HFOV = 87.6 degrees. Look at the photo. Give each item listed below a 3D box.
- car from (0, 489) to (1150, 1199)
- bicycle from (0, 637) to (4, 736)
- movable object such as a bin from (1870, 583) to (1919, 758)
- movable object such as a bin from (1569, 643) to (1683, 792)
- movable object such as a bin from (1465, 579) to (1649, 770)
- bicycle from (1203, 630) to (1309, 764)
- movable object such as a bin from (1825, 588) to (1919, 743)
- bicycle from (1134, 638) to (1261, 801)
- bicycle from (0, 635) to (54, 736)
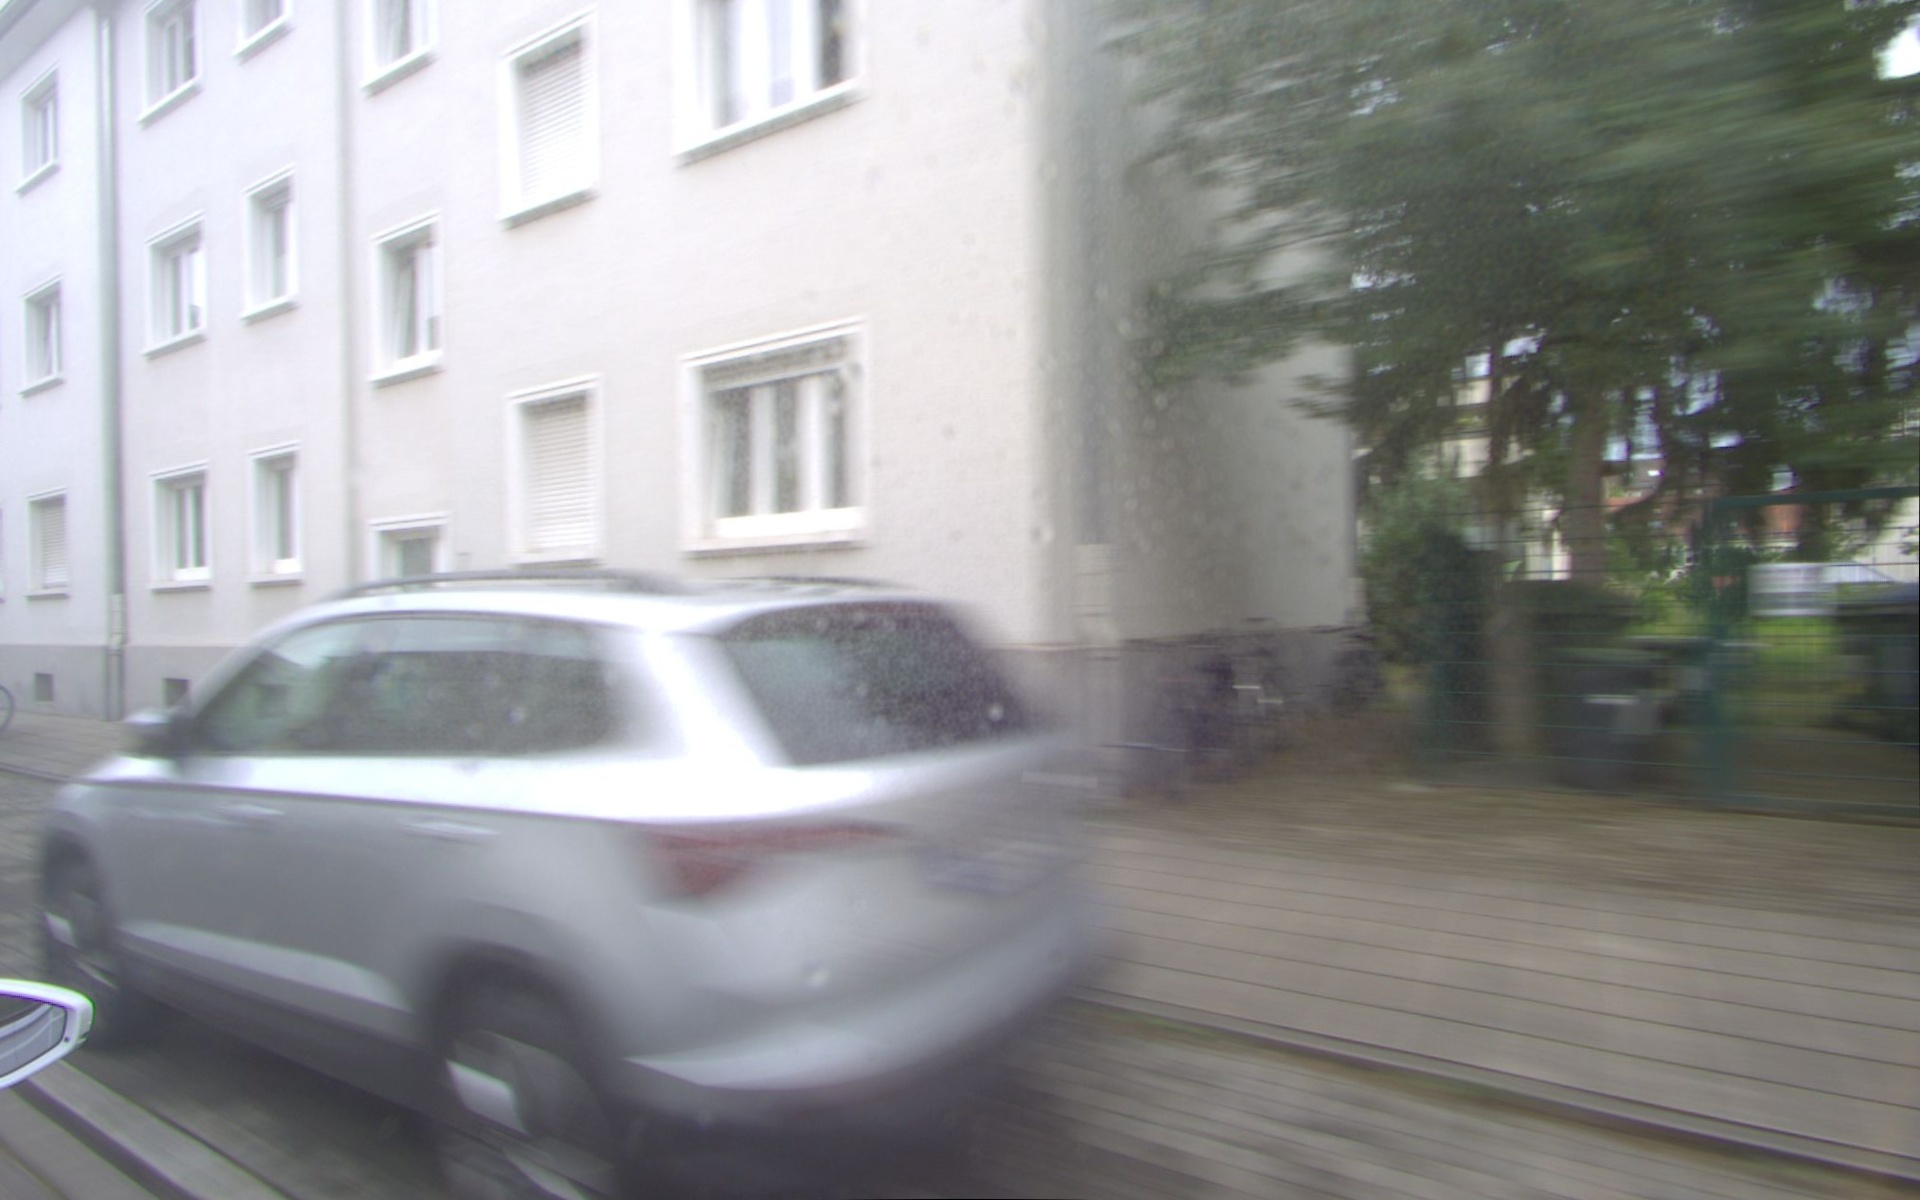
[{"bbox_3d":[-1.583,0.686,3.492,4.034,1.664,1.816,-1,0,33],"label":"car"},{"bbox_3d":[-12.572,1.067,12.578,2.011,1.191,0.528,-1,1,39],"label":"bicycle"},{"bbox_3d":[8.446,0.552,8.179,1.287,1.397,1.189,-1,0,32],"label":"movable object such as a bin"},{"bbox_3d":[4.693,0.797,7.067,0.639,0.965,0.553,-1,0,35],"label":"movable object such as a bin"},{"bbox_3d":[4.870,0.556,8.158,1.204,1.397,1.134,-1,0,35],"label":"movable object such as a bin"},{"bbox_3d":[2.683,0.818,8.987,0.491,1.076,1.444,-1,0,34],"label":"bicycle"},{"bbox_3d":[9.086,0.585,9.394,1.287,1.397,1.189,-1,0,32],"label":"movable object such as a bin"},{"bbox_3d":[1.798,0.836,7.464,0.491,1.076,1.289,-1,0,34],"label":"bicycle"},{"bbox_3d":[-12.312,1.062,12.925,2.011,1.191,0.573,-1,1,39],"label":"bicycle"}]
